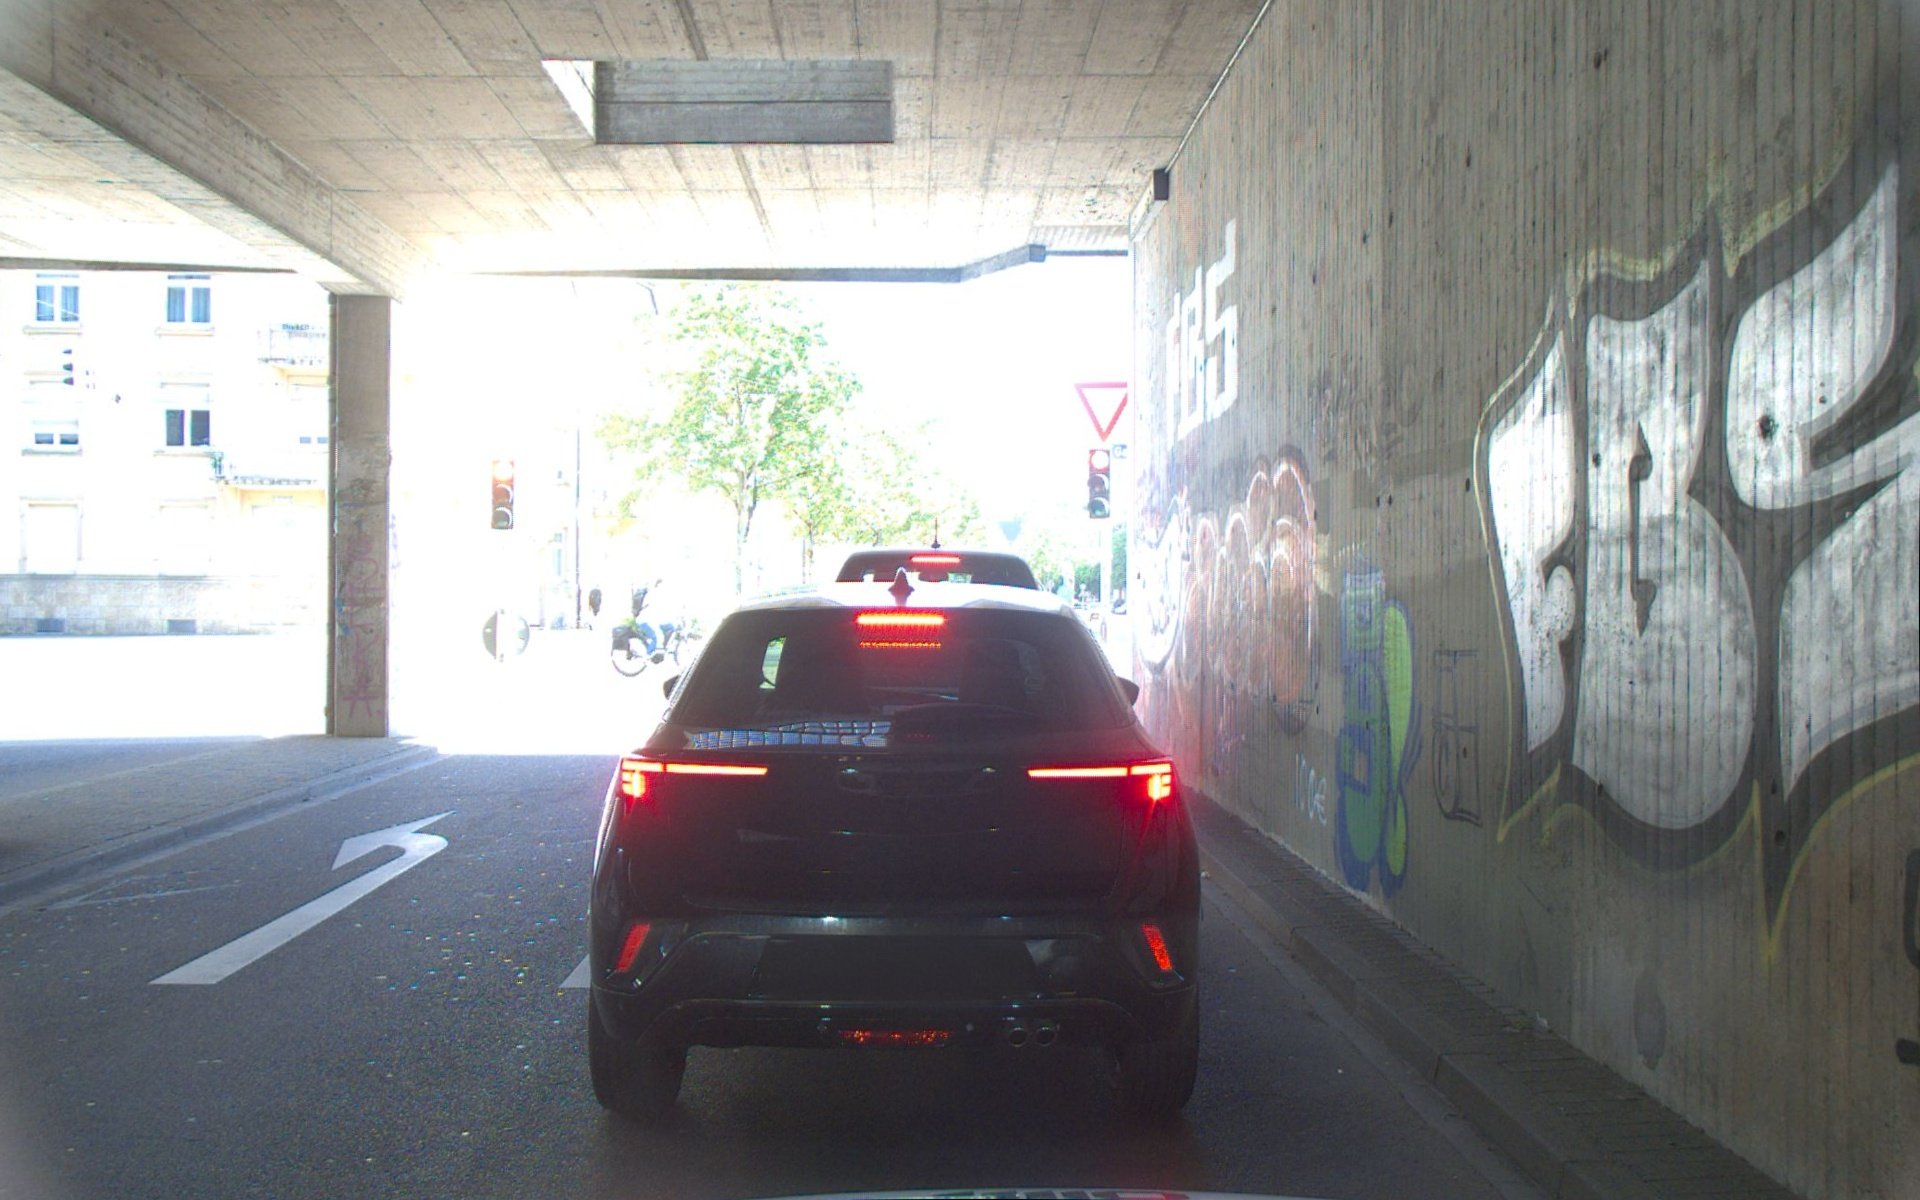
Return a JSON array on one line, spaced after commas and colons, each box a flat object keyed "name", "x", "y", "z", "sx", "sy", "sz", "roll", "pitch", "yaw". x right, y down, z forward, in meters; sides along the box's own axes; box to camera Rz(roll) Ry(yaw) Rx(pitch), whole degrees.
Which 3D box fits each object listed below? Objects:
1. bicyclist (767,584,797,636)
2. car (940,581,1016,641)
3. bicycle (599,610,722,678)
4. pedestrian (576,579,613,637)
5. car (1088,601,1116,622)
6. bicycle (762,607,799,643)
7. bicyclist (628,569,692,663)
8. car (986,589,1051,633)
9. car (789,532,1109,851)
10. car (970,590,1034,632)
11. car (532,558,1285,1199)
[{"name": "bicyclist", "x": -5.540, "y": 0.305, "z": 51.447, "sx": 0.713, "sy": 1.609, "sz": 0.815, "roll": 1, "pitch": -1, "yaw": 9}, {"name": "car", "x": 0.496, "y": 0.334, "z": 44.171, "sx": 1.927, "sy": 1.523, "sz": 3.896, "roll": 0, "pitch": -1, "yaw": 1}, {"name": "bicycle", "x": -4.806, "y": 0.705, "z": 26.619, "sx": 1.816, "sy": 1.026, "sz": 0.745, "roll": -1, "pitch": 0, "yaw": 1}, {"name": "pedestrian", "x": -13.054, "y": 0.277, "z": 59.146, "sx": 0.971, "sy": 2.049, "sz": 1.089, "roll": 0, "pitch": 0, "yaw": 7}, {"name": "car", "x": 11.441, "y": 0.927, "z": 133.030, "sx": 1.951, "sy": 1.691, "sz": 4.003, "roll": 1, "pitch": 0, "yaw": 8}, {"name": "bicycle", "x": -5.558, "y": 0.770, "z": 51.414, "sx": 0.716, "sy": 1.086, "sz": 1.690, "roll": 1, "pitch": 0, "yaw": 9}, {"name": "bicyclist", "x": -4.826, "y": 0.255, "z": 26.639, "sx": 0.851, "sy": 1.477, "sz": 0.745, "roll": -1, "pitch": 0, "yaw": 0}, {"name": "car", "x": 2.464, "y": 0.479, "z": 69.031, "sx": 2.173, "sy": 1.749, "sz": 4.463, "roll": 0, "pitch": -1, "yaw": 9}, {"name": "car", "x": -0.093, "y": 0.535, "z": 11.877, "sx": 1.906, "sy": 1.892, "sz": 3.963, "roll": 0, "pitch": 0, "yaw": -1}, {"name": "car", "x": 1.619, "y": 0.437, "z": 62.208, "sx": 1.926, "sy": 1.523, "sz": 3.899, "roll": 0, "pitch": -1, "yaw": 8}, {"name": "car", "x": -0.151, "y": 0.674, "z": 6.052, "sx": 1.844, "sy": 1.565, "sz": 3.963, "roll": 0, "pitch": 0, "yaw": -1}]
